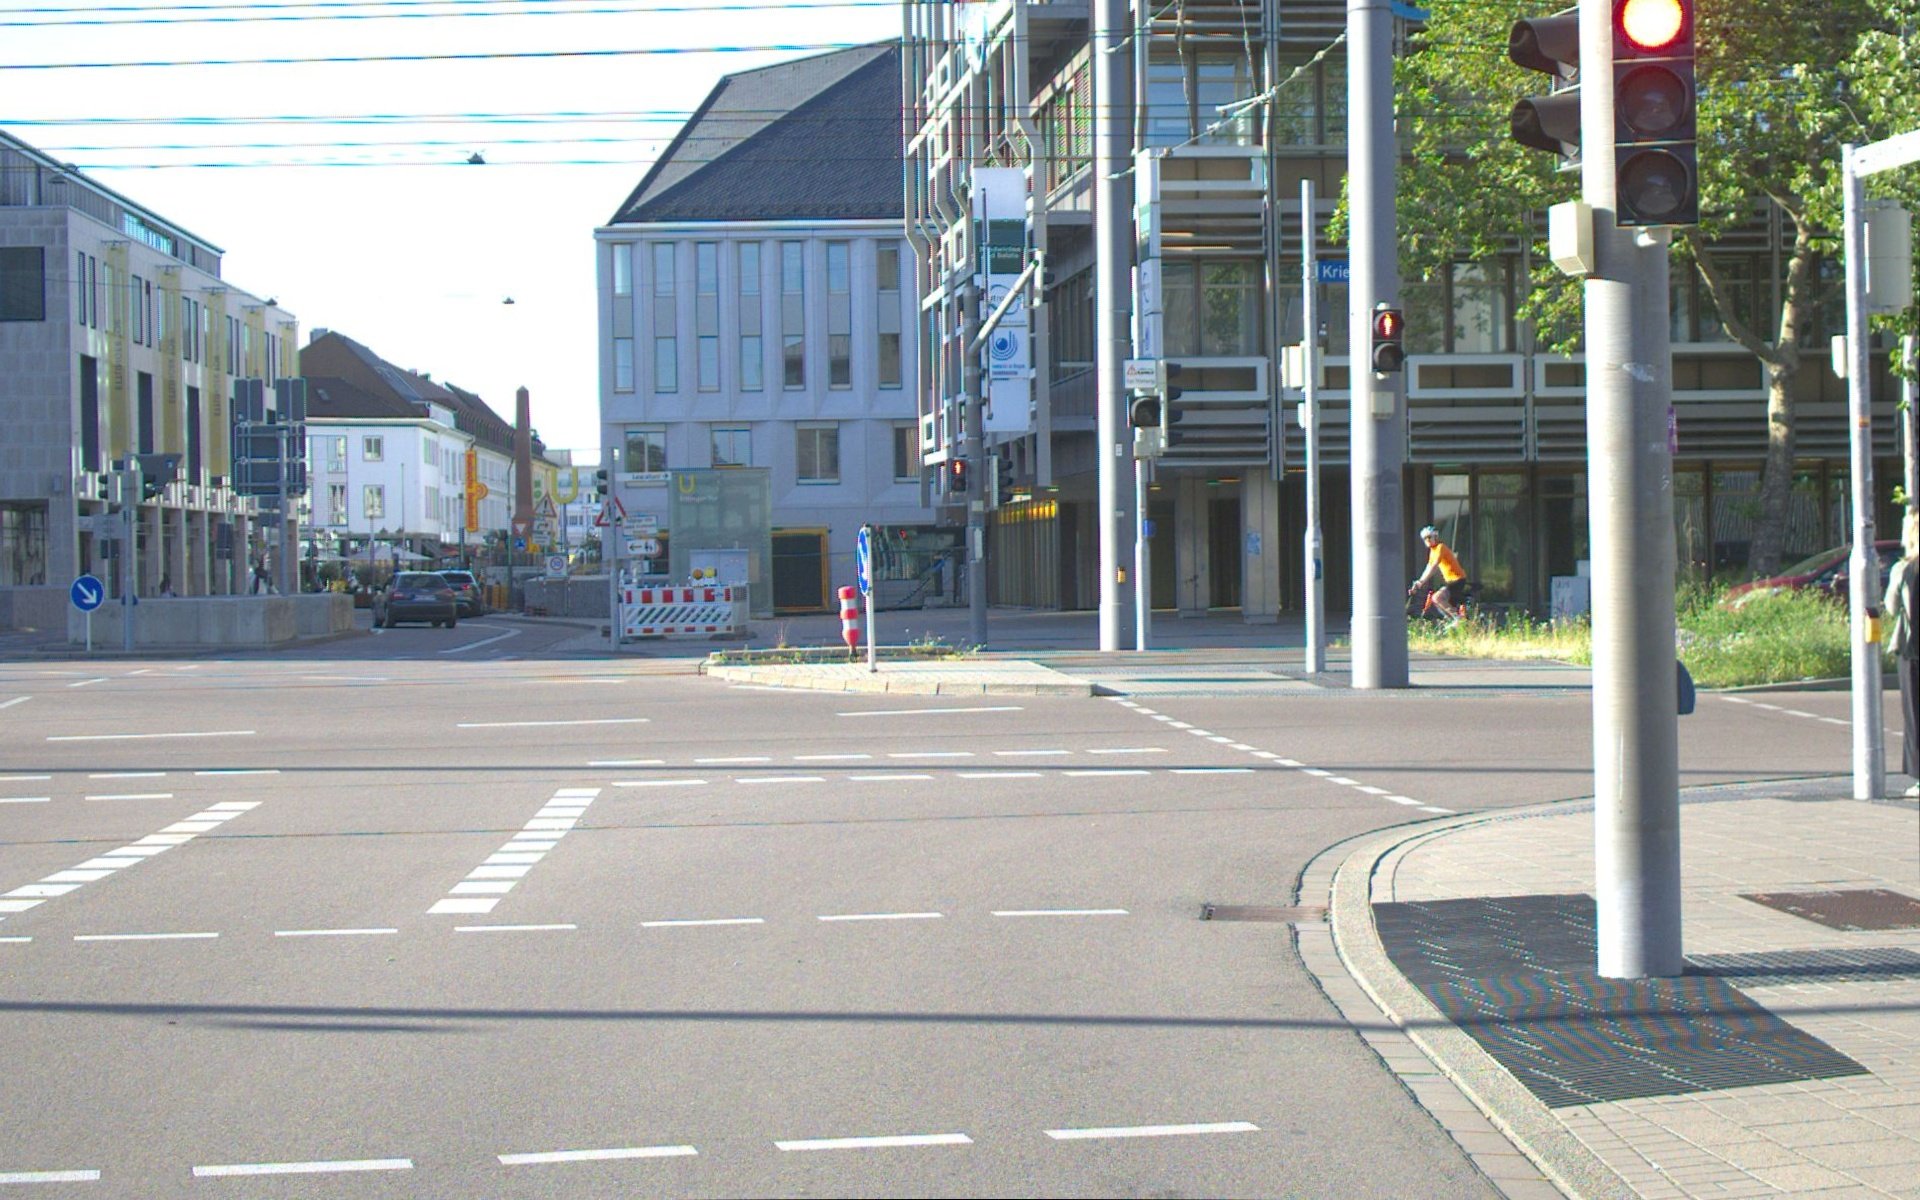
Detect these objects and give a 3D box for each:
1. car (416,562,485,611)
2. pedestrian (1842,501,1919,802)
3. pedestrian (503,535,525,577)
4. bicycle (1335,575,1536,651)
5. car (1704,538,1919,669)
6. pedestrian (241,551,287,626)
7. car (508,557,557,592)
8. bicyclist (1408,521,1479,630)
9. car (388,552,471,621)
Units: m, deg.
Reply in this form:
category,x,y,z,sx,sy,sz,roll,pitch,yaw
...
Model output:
category,x,y,z,sx,sy,sz,roll,pitch,yaw
car,-15.998,-0.441,108.086,1.658,1.453,3.542,-1,1,-1
pedestrian,5.342,0.265,18.832,0.765,1.608,0.874,-1,1,-2
pedestrian,-21.369,-2.106,164.693,0.910,1.958,0.823,1,0,-1
bicycle,6.509,0.171,47.123,2.568,0.972,1.047,-1,1,-3
car,12.446,0.017,46.429,4.287,1.678,1.826,-1,1,-10
pedestrian,-16.667,-0.278,82.340,0.899,1.776,0.808,-1,1,-1
car,-18.105,-1.093,145.810,1.658,1.453,3.542,-1,1,-1
bicyclist,6.624,-0.337,47.131,0.822,1.469,0.652,-1,1,-4
car,-13.295,-0.358,86.309,1.819,1.678,4.001,-1,1,-6
